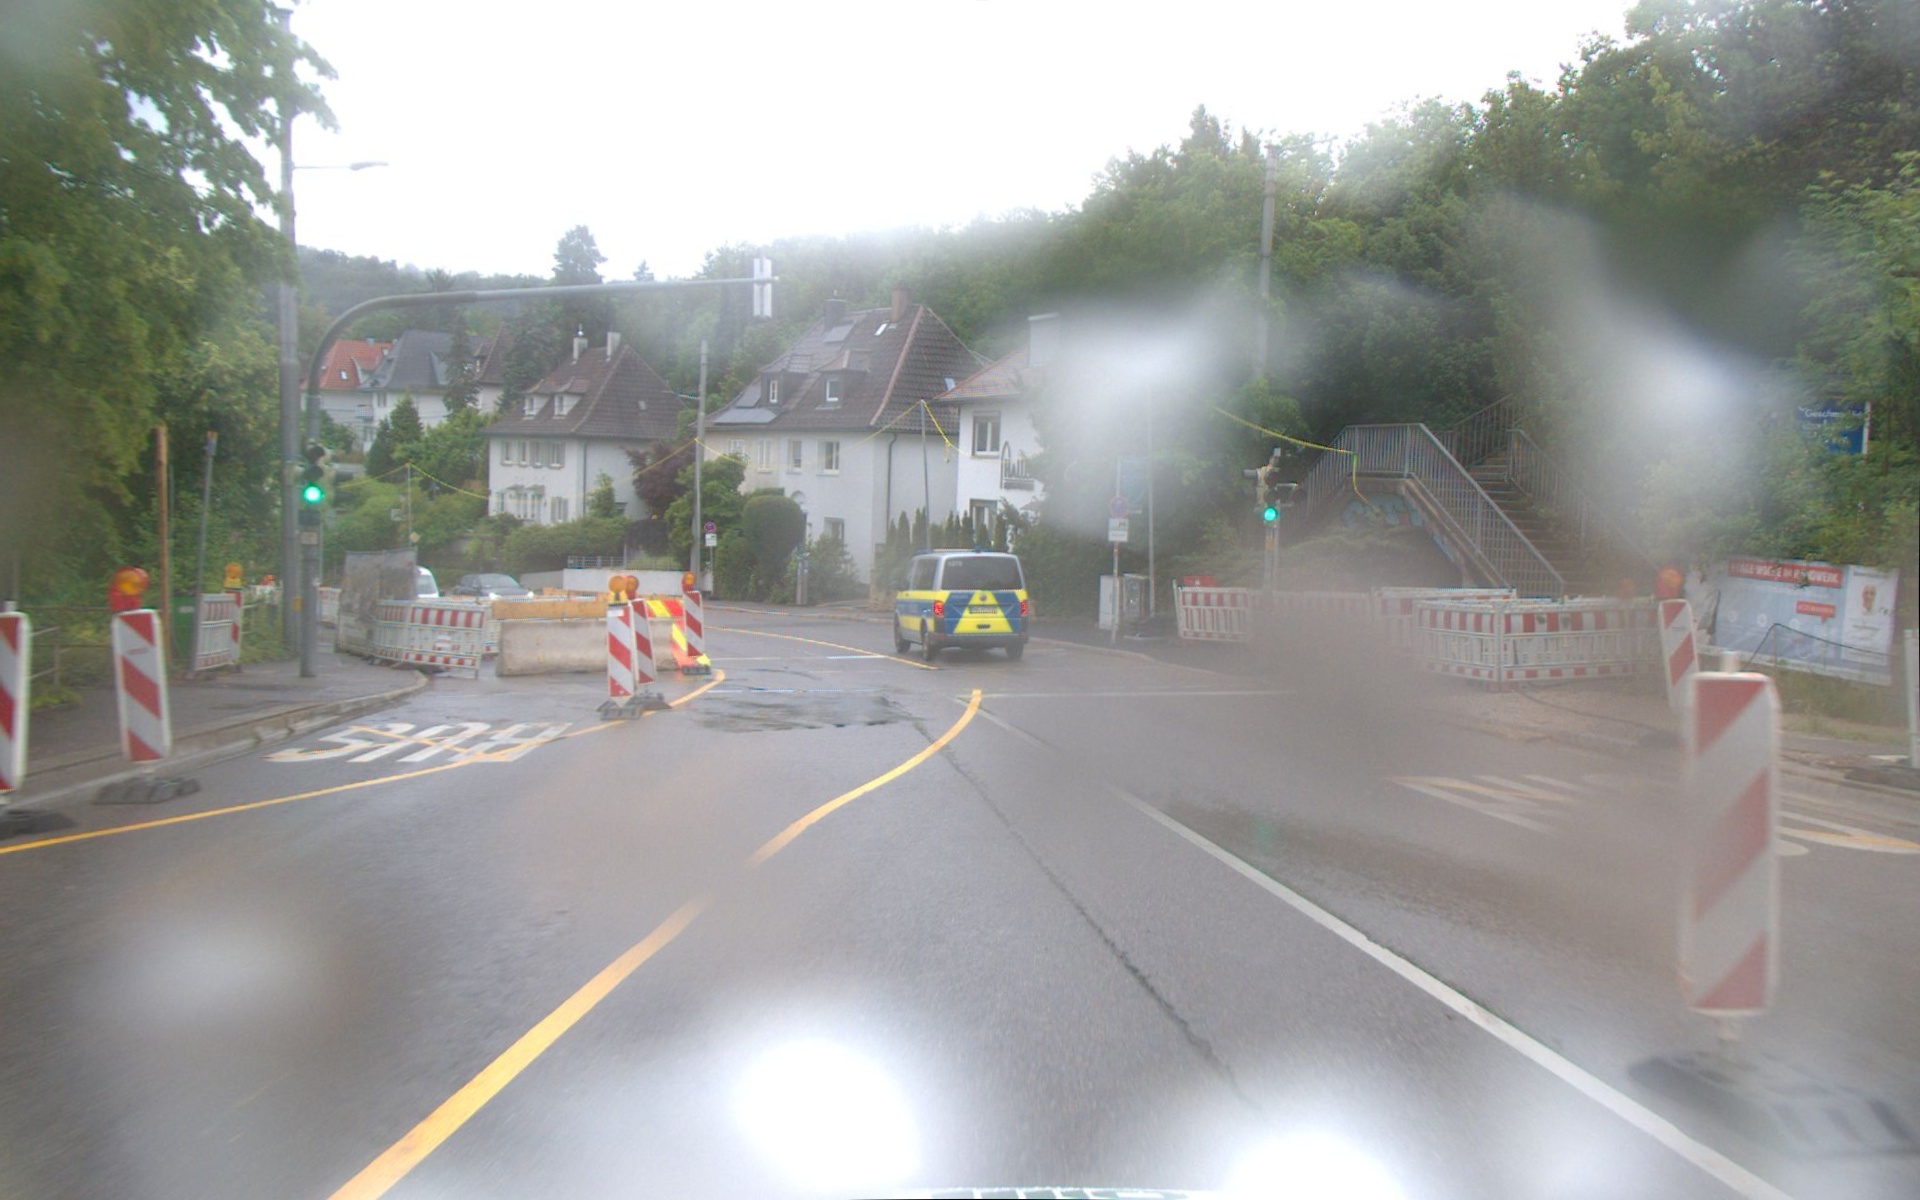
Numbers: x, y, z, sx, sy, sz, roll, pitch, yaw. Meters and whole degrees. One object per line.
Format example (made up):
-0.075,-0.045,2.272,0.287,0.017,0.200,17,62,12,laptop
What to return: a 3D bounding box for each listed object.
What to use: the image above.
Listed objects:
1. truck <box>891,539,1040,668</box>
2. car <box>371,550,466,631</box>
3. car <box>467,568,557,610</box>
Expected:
0.012,-0.032,31.578,1.958,2.047,4.725,0,5,-11,truck
-14.574,-0.229,44.357,1.967,2.049,4.770,1,0,-24,car
-16.185,-0.430,59.583,1.769,1.427,4.311,0,2,-35,car
